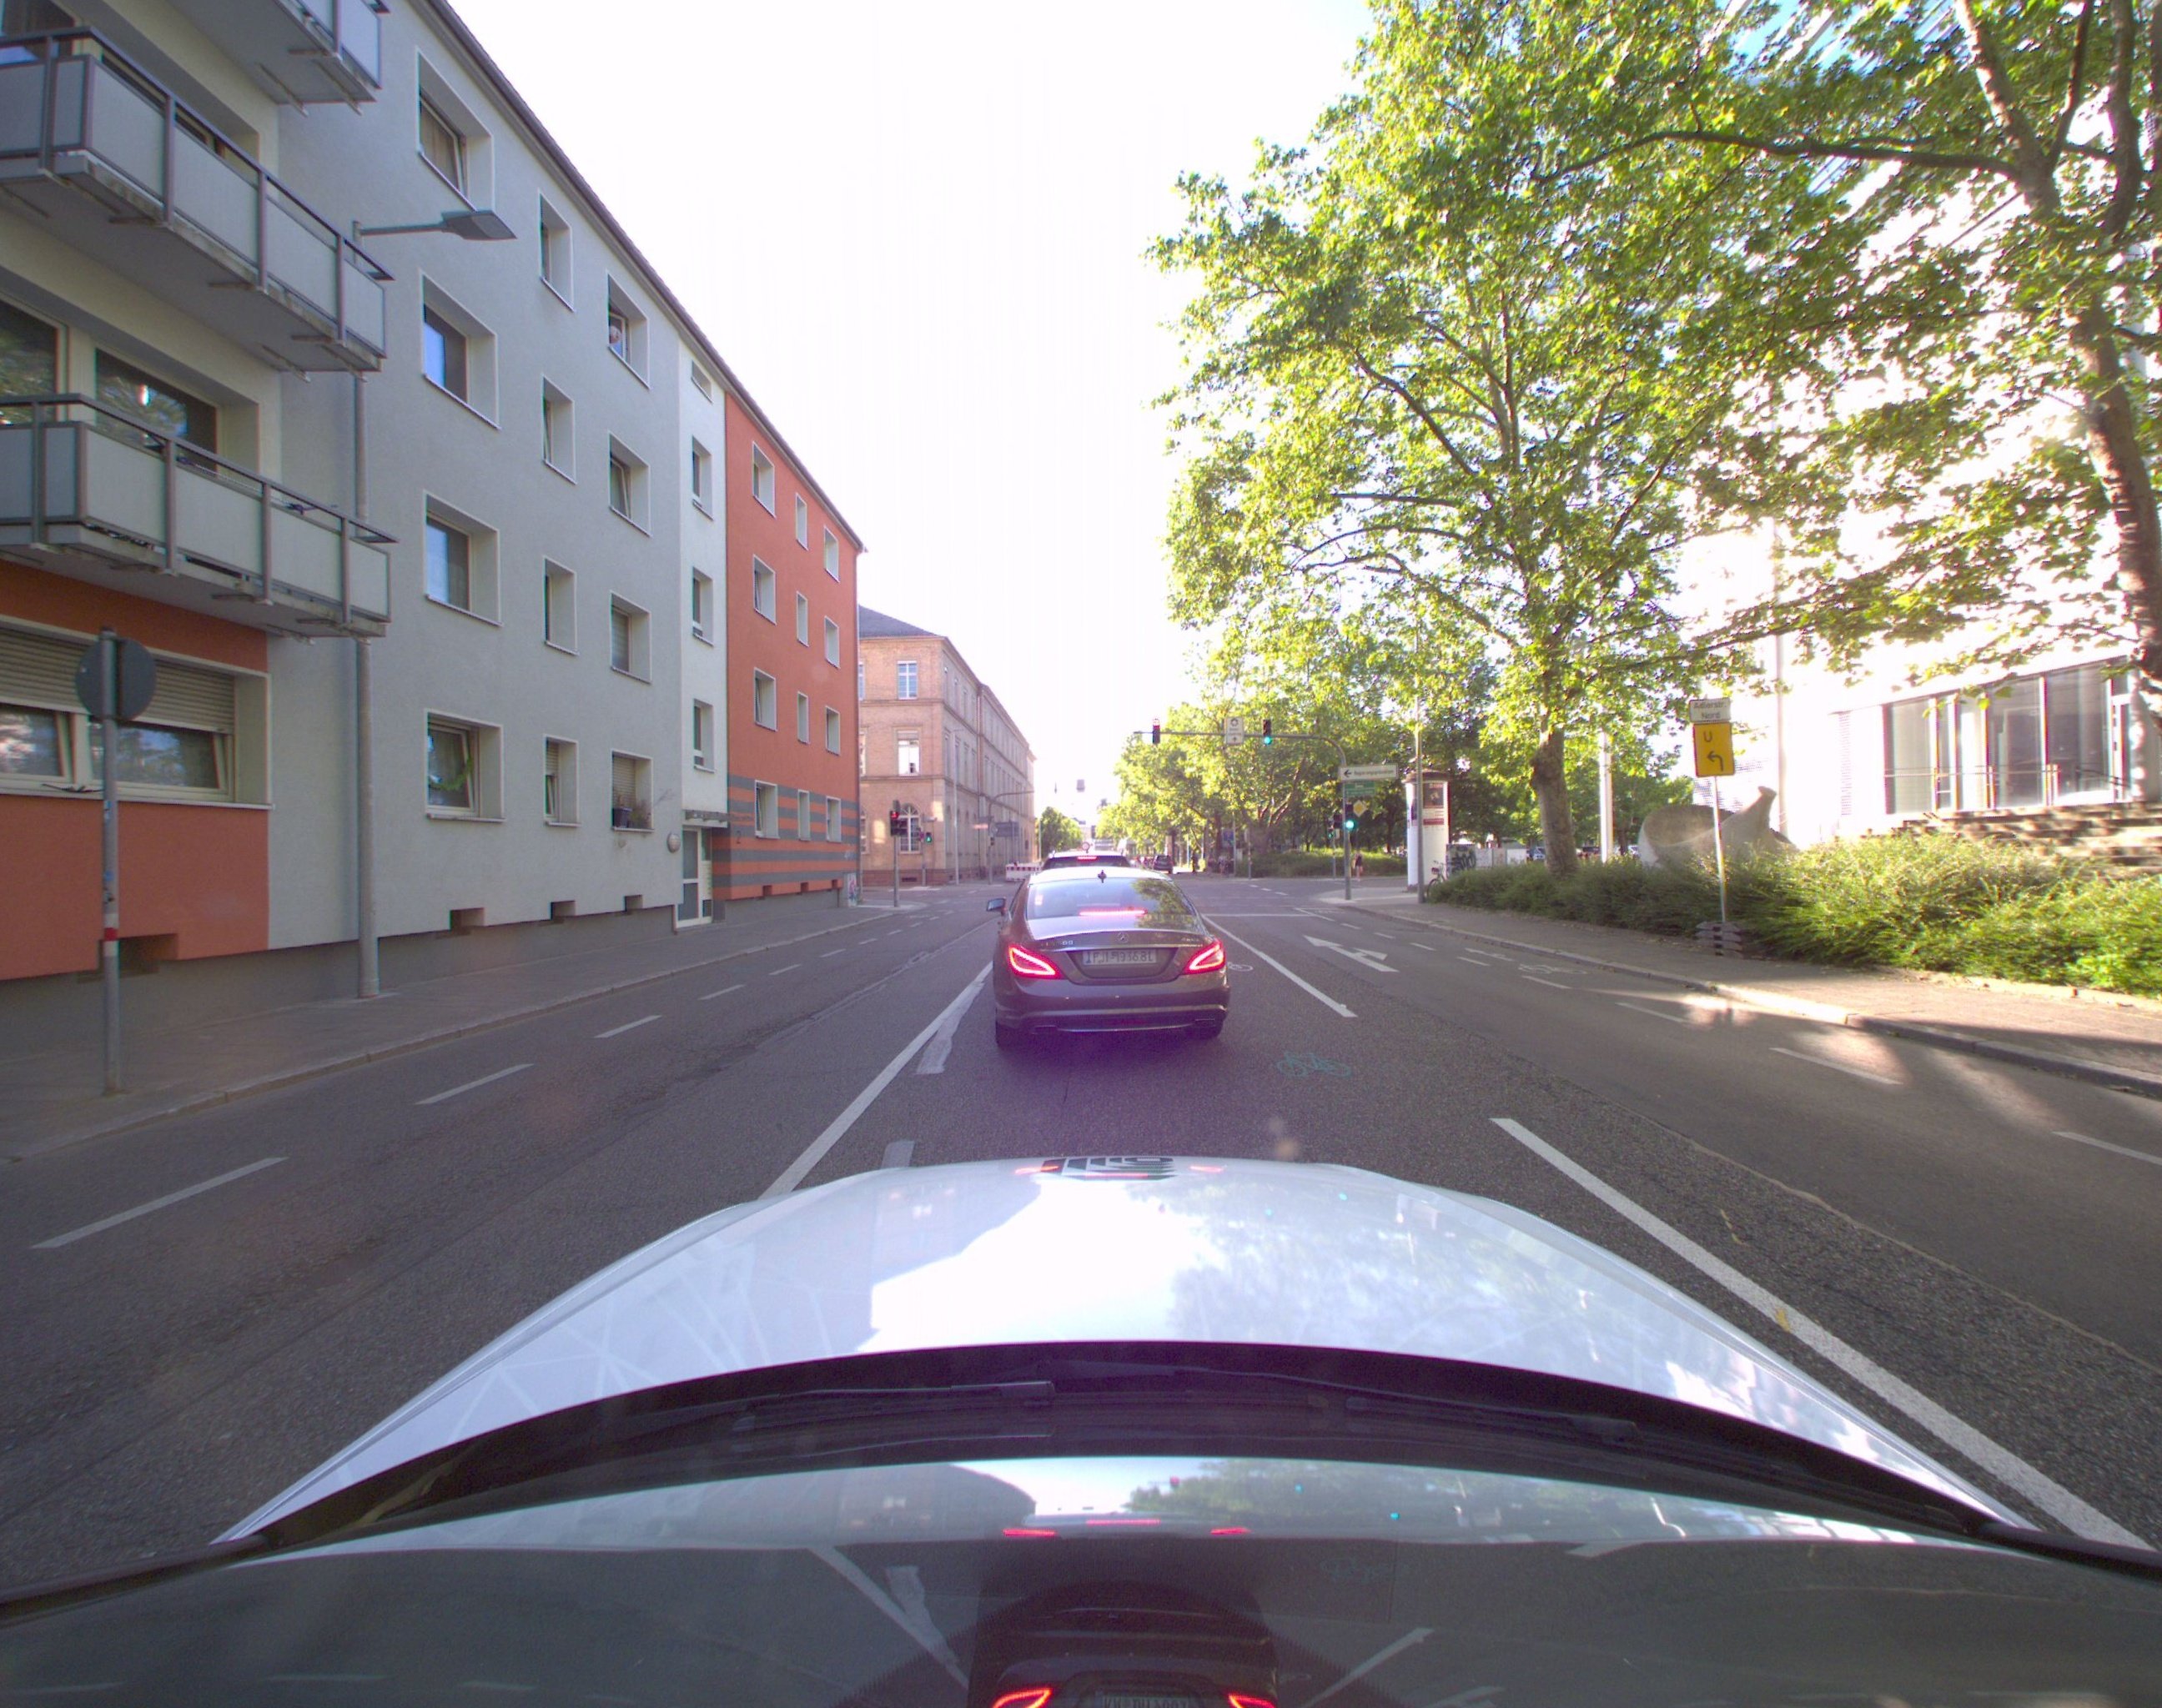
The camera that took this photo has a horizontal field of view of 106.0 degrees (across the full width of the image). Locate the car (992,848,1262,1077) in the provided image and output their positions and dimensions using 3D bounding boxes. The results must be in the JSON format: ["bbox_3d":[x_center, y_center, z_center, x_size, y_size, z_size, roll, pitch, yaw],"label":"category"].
[{"bbox_3d":[0.146,0.737,7.593,1.859,1.519,3.992,-1,0,-6],"label":"car"}]

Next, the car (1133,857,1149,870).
[{"bbox_3d":[7.288,1.127,98.868,1.698,1.519,4.002,-1,0,2],"label":"car"}]

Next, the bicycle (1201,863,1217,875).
[{"bbox_3d":[9.546,1.113,60.762,0.825,0.924,2.618,0,-1,2],"label":"bicycle"}]

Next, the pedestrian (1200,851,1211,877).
[{"bbox_3d":[8.681,0.712,56.675,0.634,1.797,0.698,0,-1,-2],"label":"pedestrian"}]

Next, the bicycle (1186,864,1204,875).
[{"bbox_3d":[8.865,1.198,63.303,0.716,0.791,1.940,-1,-1,30],"label":"bicycle"}]

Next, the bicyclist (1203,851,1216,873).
[{"bbox_3d":[9.540,0.610,60.622,0.822,1.618,0.958,0,-1,1],"label":"bicyclist"}]

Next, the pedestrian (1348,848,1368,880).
[{"bbox_3d":[13.656,0.501,40.126,0.634,1.545,0.909,0,-1,-4],"label":"pedestrian"}]

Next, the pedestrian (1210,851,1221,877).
[{"bbox_3d":[9.343,0.695,56.687,0.634,1.760,0.698,0,-1,-2],"label":"pedestrian"}]

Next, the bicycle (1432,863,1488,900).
[{"bbox_3d":[10.985,0.782,23.568,1.895,1.028,0.635,0,-1,-36],"label":"bicycle"}]

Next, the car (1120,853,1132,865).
[{"bbox_3d":[6.512,0.779,118.283,1.725,1.662,3.682,0,-1,2],"label":"car"}]

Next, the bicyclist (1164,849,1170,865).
[{"bbox_3d":[11.050,0.425,104.763,0.593,2.039,0.566,0,-1,-3],"label":"bicyclist"}]

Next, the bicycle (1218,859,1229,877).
[{"bbox_3d":[9.902,0.965,56.588,0.480,1.202,1.607,0,-1,2],"label":"bicycle"}]

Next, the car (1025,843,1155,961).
[{"bbox_3d":[0.194,0.696,13.728,1.854,1.682,4.002,-1,0,2],"label":"car"}]

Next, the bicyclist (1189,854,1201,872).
[{"bbox_3d":[8.858,0.678,63.295,0.726,1.398,0.703,-1,-1,30],"label":"bicyclist"}]
